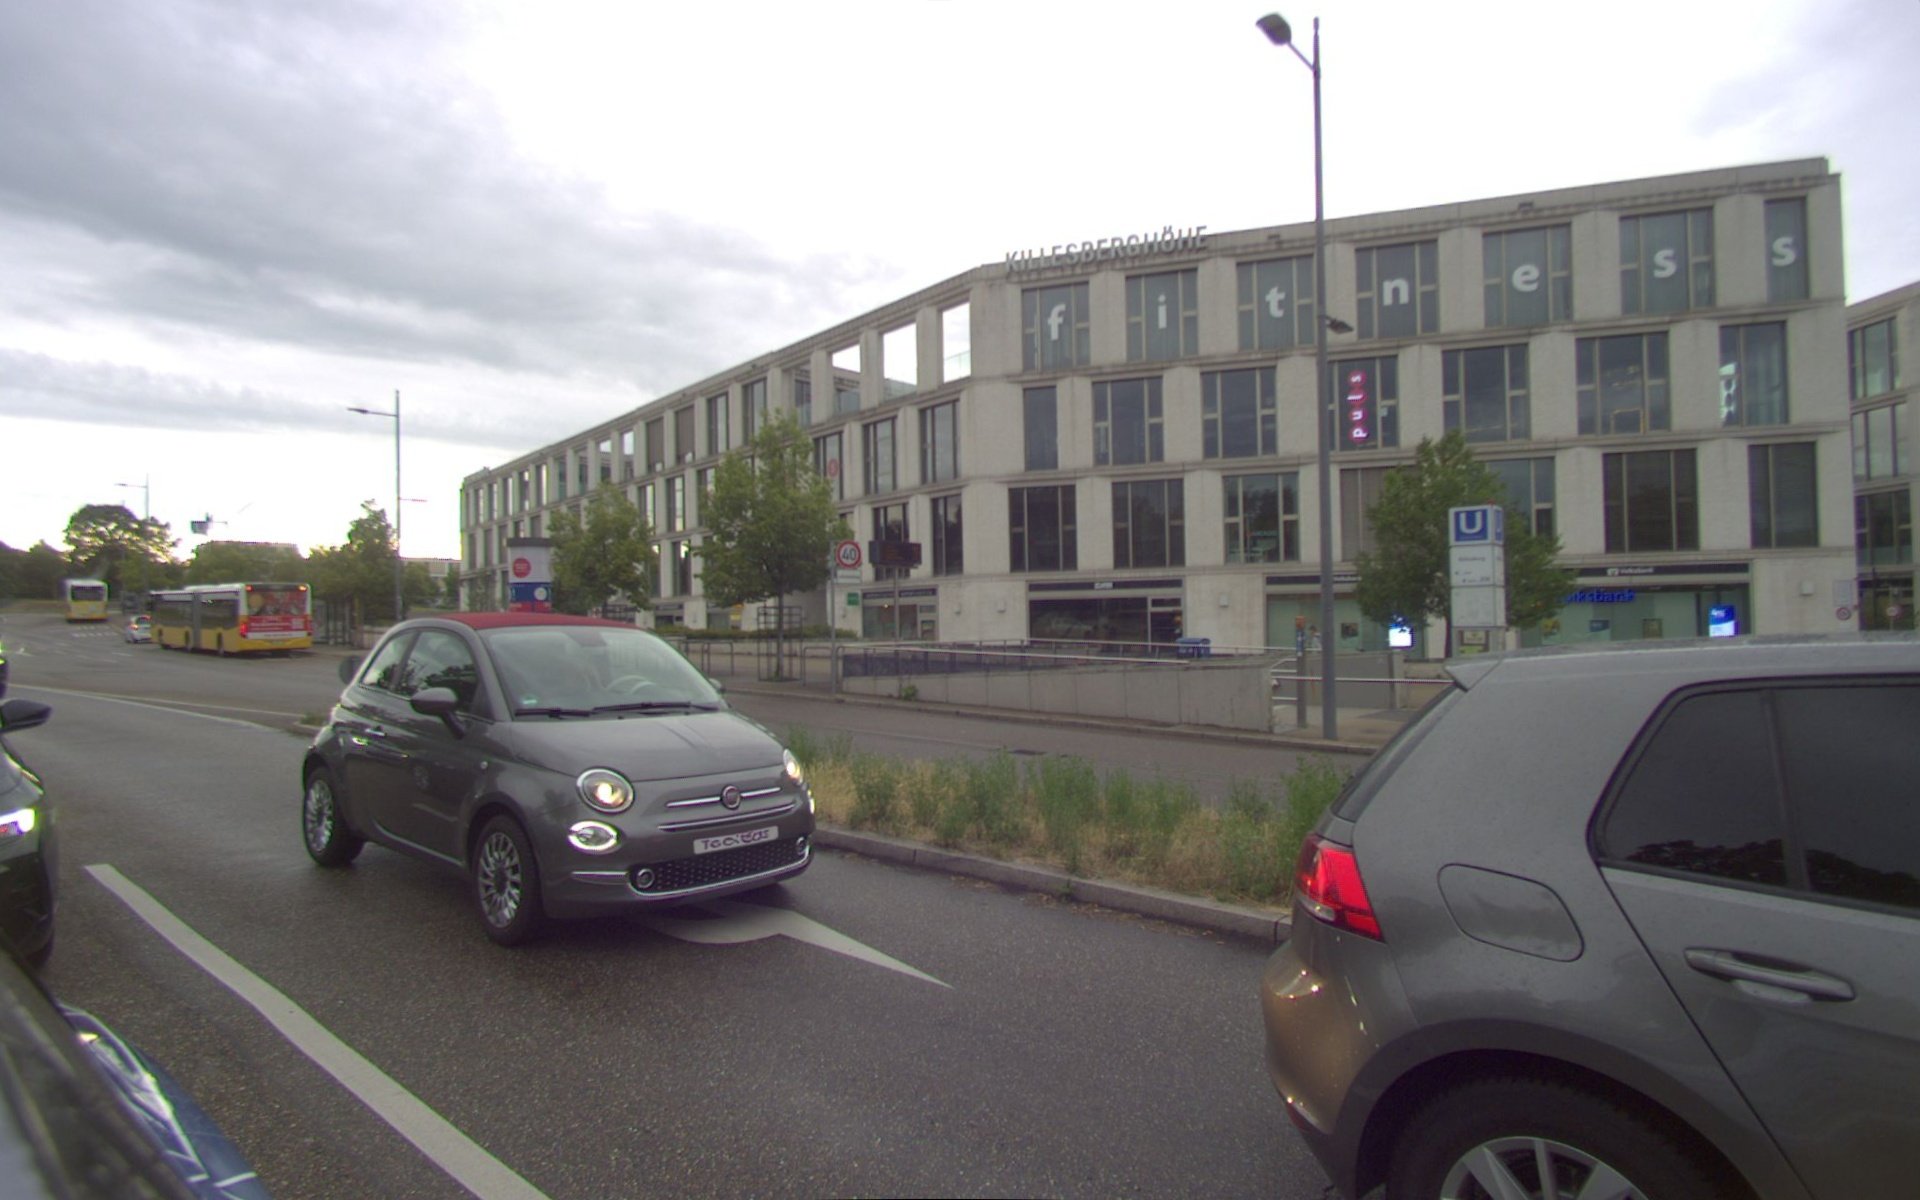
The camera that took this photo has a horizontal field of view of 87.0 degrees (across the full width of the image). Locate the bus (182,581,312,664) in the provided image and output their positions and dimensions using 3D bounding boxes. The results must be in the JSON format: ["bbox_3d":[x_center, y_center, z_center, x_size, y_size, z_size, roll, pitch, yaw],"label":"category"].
[{"bbox_3d":[-31.131,0.916,43.986,9.206,3.236,2.723,-1,0,43],"label":"bus"}]

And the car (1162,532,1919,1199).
[{"bbox_3d":[2.670,0.649,1.445,4.374,1.492,1.797,-1,-2,41],"label":"car"}]

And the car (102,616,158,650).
[{"bbox_3d":[-46.870,1.826,57.137,3.998,1.800,1.843,-1,0,41],"label":"car"}]

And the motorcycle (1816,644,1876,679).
[{"bbox_3d":[20.437,1.409,23.354,0.517,0.746,1.098,-1,0,9],"label":"motorcycle"}]

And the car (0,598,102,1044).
[{"bbox_3d":[-5.419,0.763,4.417,4.766,1.476,1.877,-1,0,41],"label":"car"}]

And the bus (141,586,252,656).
[{"bbox_3d":[-38.157,0.985,50.394,9.911,3.205,2.658,-1,0,42],"label":"bus"}]

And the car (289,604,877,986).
[{"bbox_3d":[-2.277,0.797,5.728,3.503,1.492,1.610,-1,-2,40],"label":"car"}]

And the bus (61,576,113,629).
[{"bbox_3d":[-76.342,0.260,88.764,2.717,4.185,19.383,-1,0,-39],"label":"bus"}]

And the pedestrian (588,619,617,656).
[{"bbox_3d":[-15.575,1.618,44.119,0.968,1.593,0.868,-1,0,-37],"label":"pedestrian"}]

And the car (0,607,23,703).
[{"bbox_3d":[-19.051,0.984,18.677,4.612,1.671,1.910,-1,-1,39],"label":"car"}]

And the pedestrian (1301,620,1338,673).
[{"bbox_3d":[11.182,1.419,31.483,0.913,1.617,0.755,-1,-2,35],"label":"pedestrian"}]
